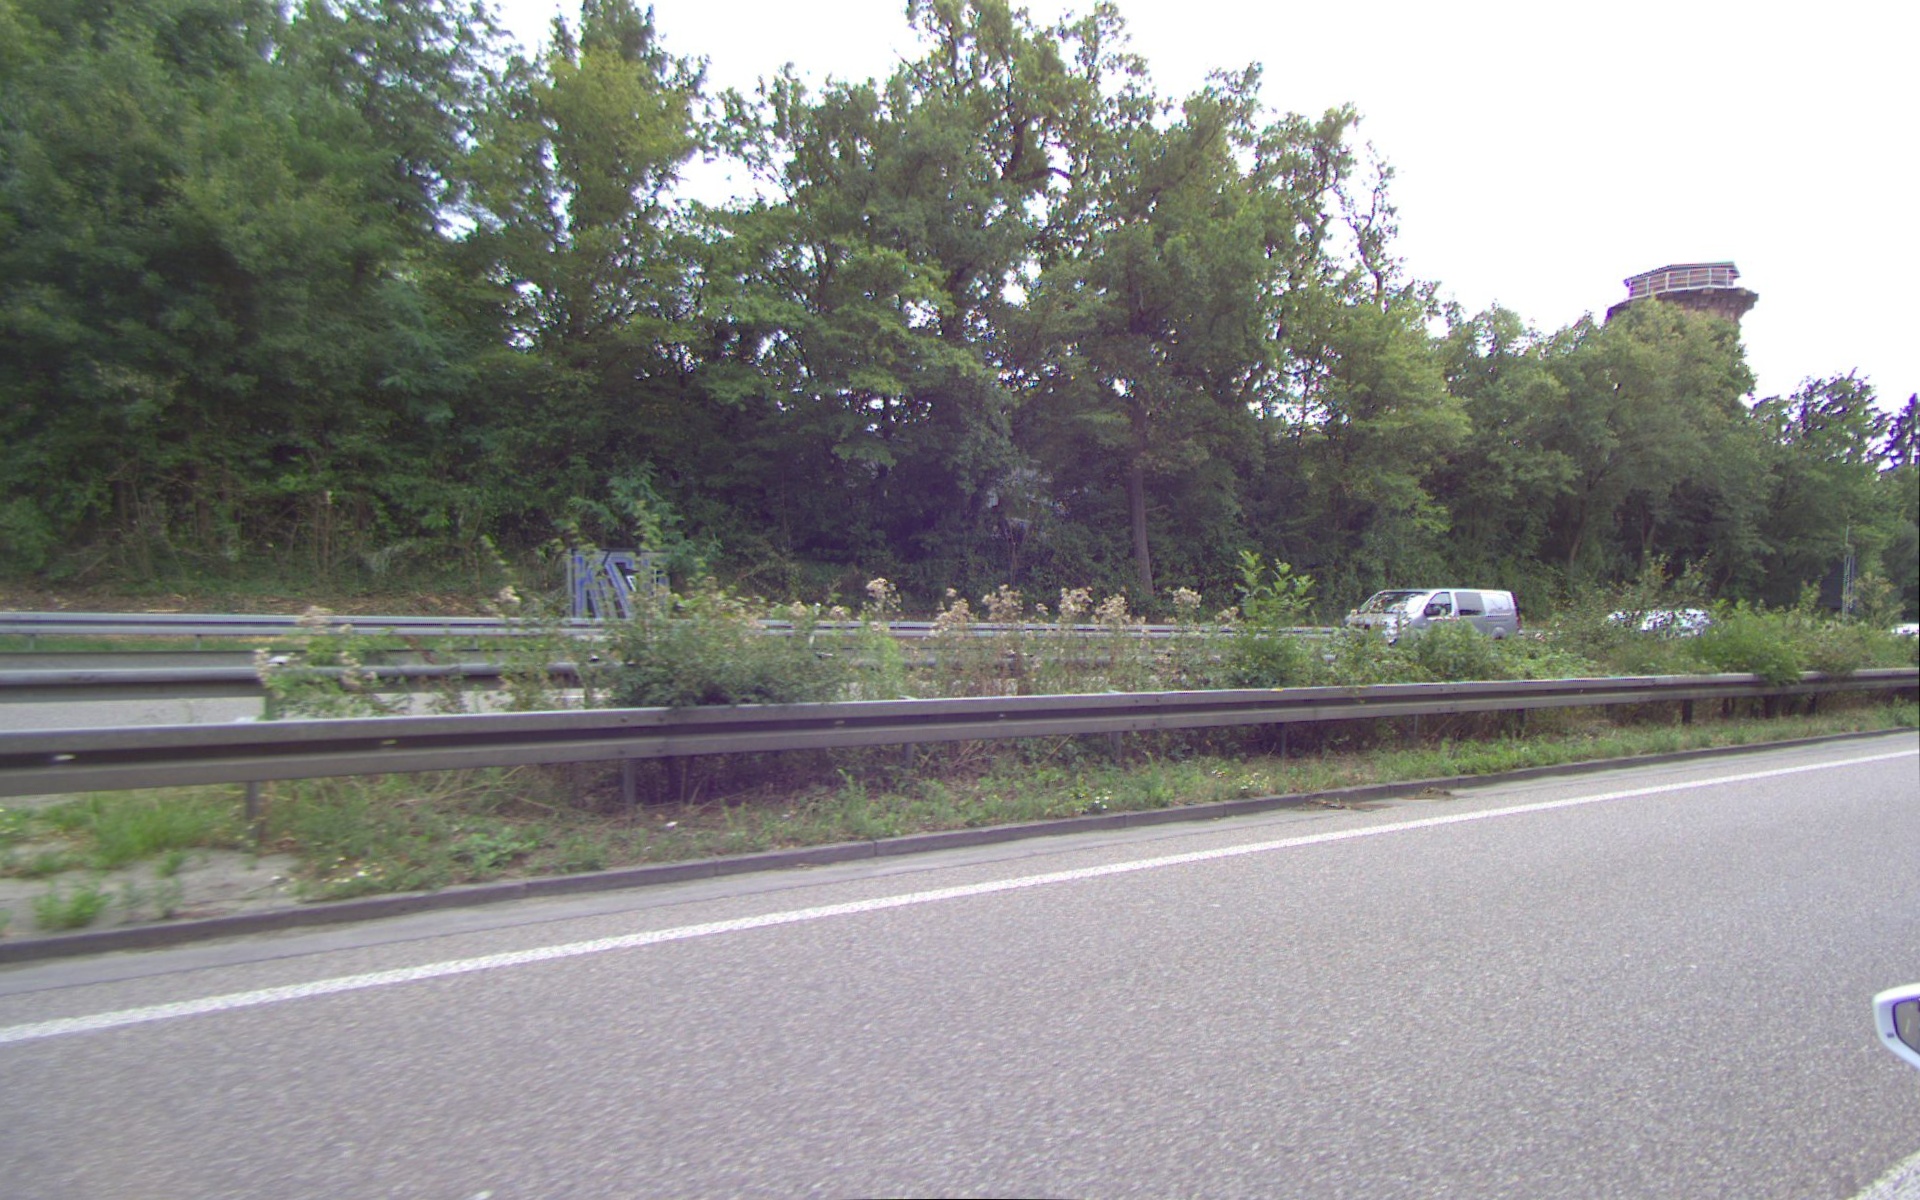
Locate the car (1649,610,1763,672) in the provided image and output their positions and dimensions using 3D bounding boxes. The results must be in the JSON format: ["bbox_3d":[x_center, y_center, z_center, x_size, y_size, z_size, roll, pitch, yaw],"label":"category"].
[{"bbox_3d":[25.834,1.419,34.765,3.955,2.040,1.810,2,-1,-31],"label":"car"}]

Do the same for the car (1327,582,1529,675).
[{"bbox_3d":[11.374,0.717,24.280,5.241,2.040,1.787,2,-1,-31],"label":"car"}]
